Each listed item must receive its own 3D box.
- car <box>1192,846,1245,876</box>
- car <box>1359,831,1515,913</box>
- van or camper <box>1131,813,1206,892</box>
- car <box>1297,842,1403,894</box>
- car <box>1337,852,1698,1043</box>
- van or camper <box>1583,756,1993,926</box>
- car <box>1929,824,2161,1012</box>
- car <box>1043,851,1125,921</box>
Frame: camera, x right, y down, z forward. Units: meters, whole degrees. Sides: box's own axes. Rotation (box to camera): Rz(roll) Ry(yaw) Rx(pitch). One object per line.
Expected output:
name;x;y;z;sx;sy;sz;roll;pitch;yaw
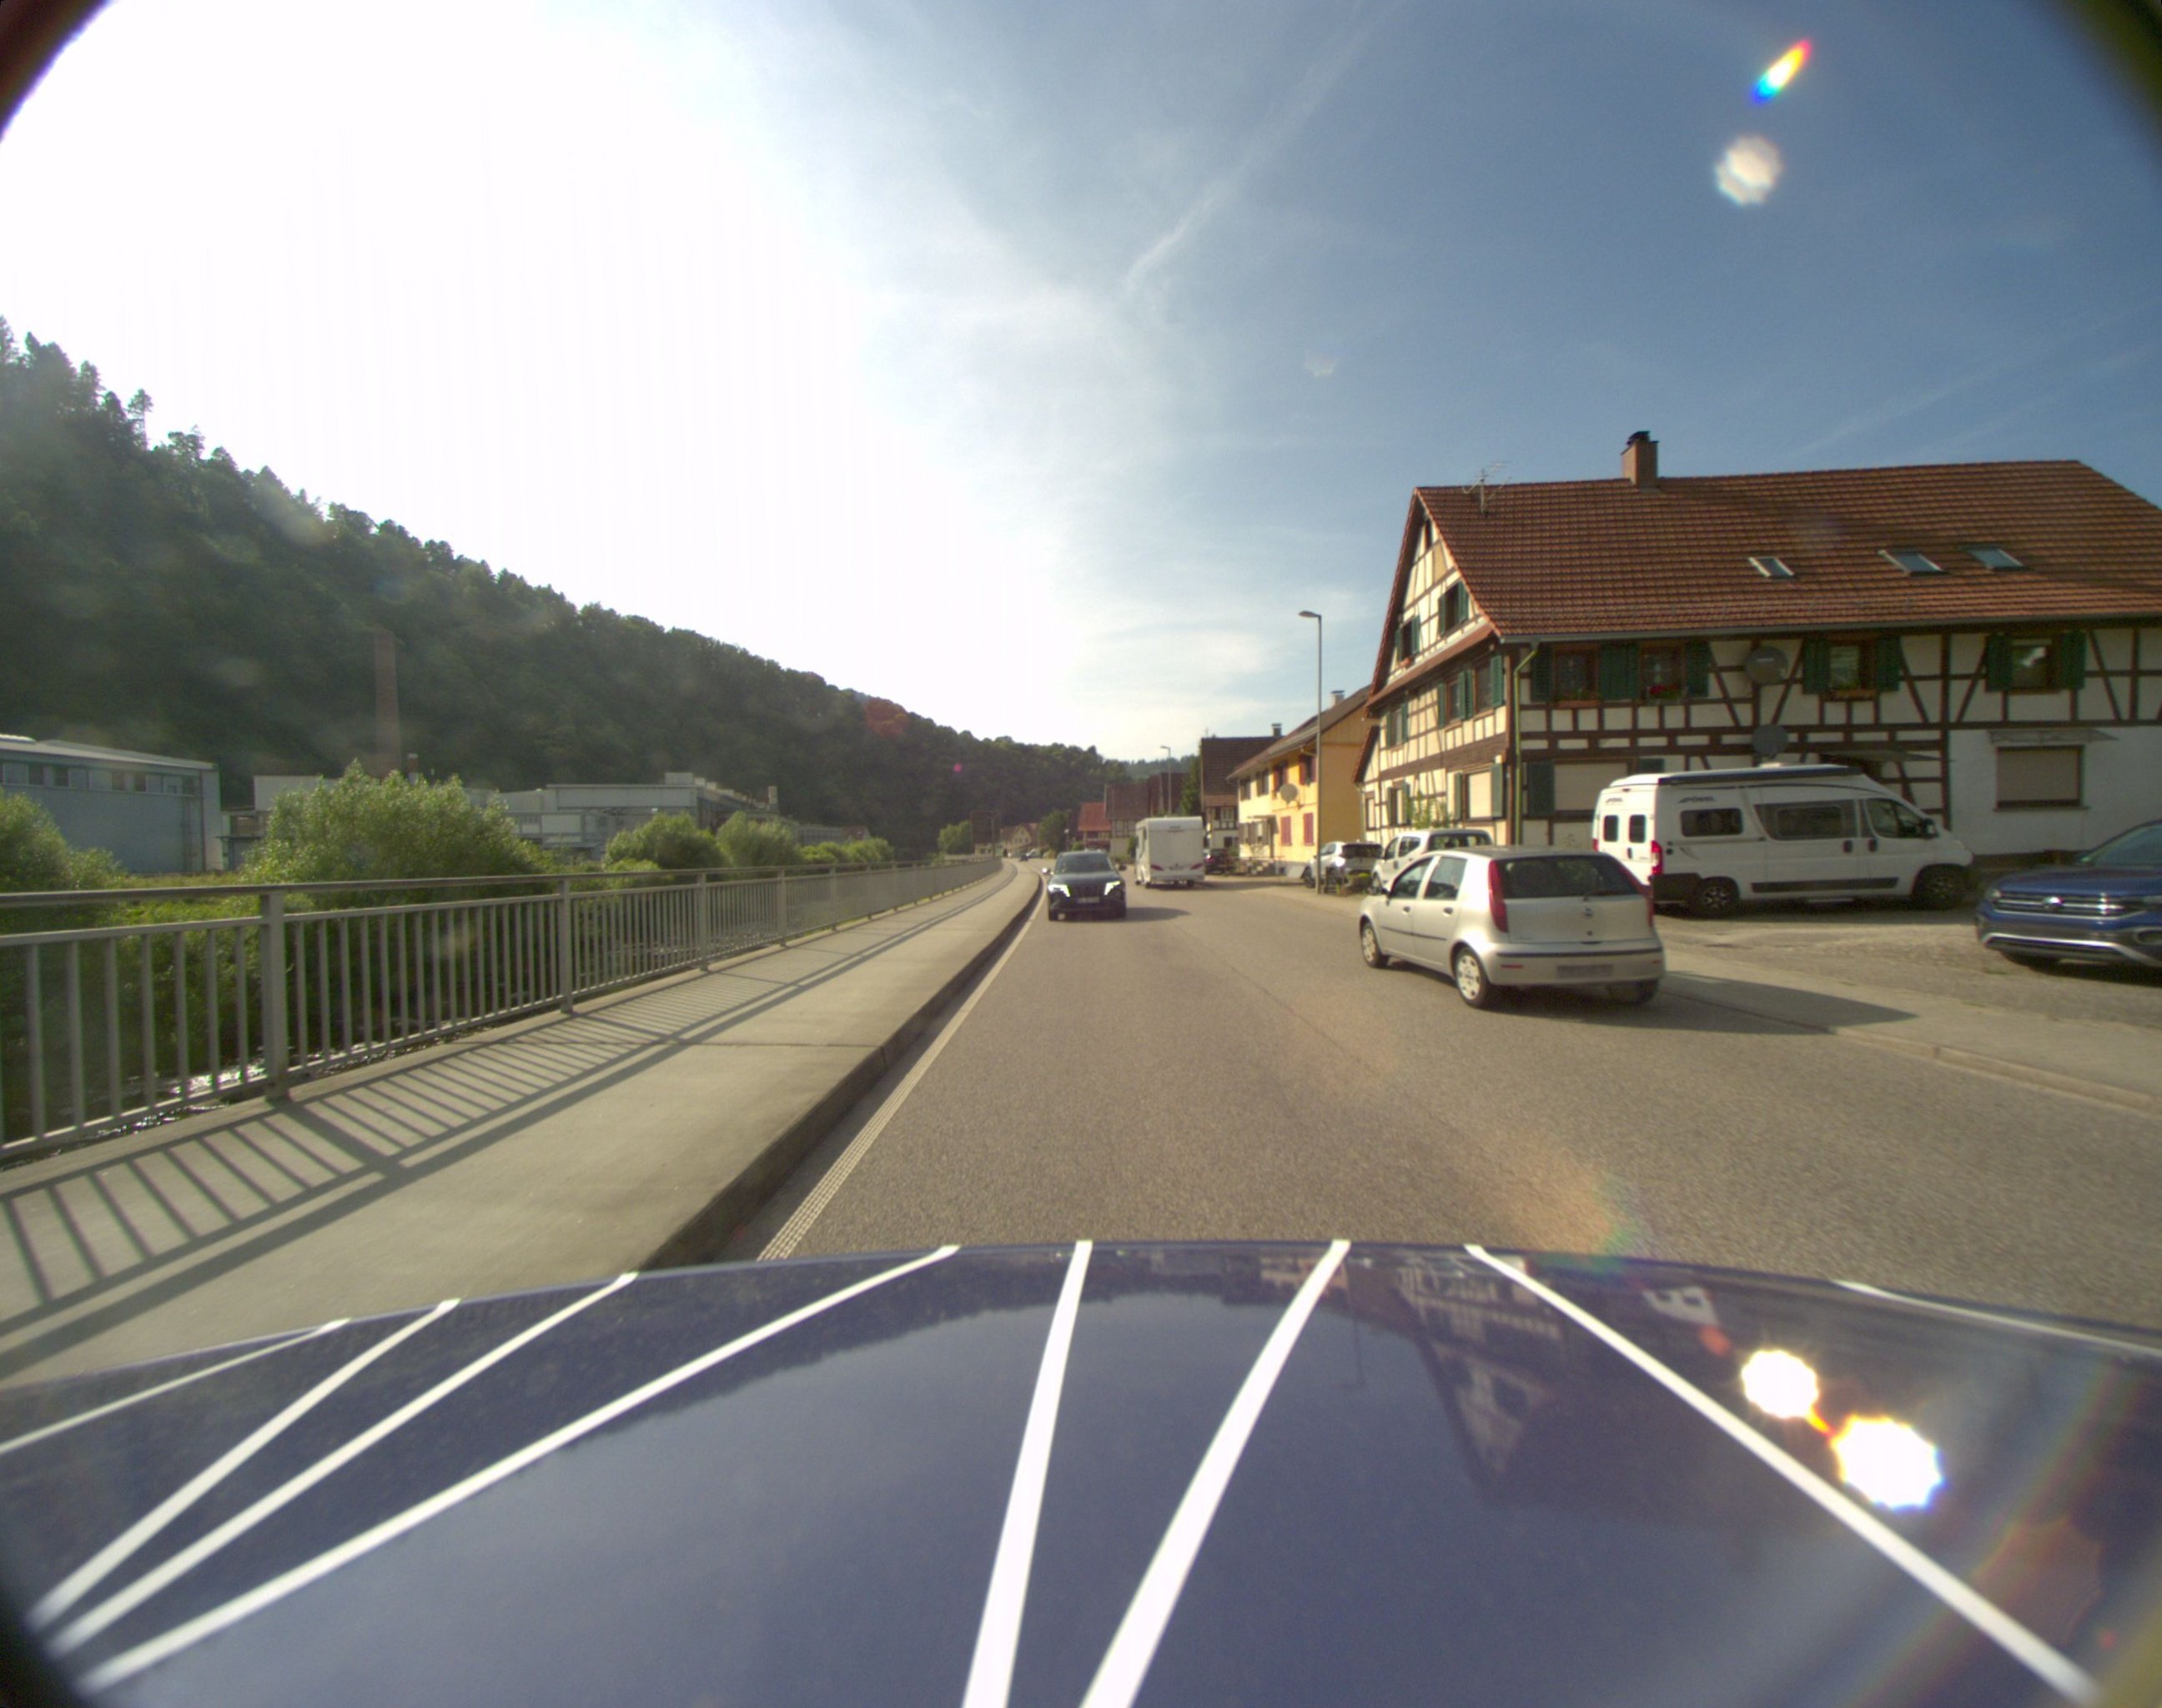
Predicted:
car;7.667;0.342;42.769;1.890;1.510;4.234;-3;1;-5
car;8.263;0.351;18.124;1.905;1.655;4.268;-2;1;4
van or camper;3.597;-0.067;32.694;2.201;2.921;7.125;-2;0;-1
car;8.512;0.400;24.431;1.889;1.510;4.093;0;0;-1
car;4.195;0.752;8.124;1.634;1.476;4.000;-2;1;2
van or camper;12.643;-0.196;13.983;5.186;2.648;2.193;-3;1;7
car;11.244;0.482;7.346;3.928;1.541;1.907;-3;0;0
car;-0.010;0.779;20.603;1.650;1.639;3.997;-2;1;-7
